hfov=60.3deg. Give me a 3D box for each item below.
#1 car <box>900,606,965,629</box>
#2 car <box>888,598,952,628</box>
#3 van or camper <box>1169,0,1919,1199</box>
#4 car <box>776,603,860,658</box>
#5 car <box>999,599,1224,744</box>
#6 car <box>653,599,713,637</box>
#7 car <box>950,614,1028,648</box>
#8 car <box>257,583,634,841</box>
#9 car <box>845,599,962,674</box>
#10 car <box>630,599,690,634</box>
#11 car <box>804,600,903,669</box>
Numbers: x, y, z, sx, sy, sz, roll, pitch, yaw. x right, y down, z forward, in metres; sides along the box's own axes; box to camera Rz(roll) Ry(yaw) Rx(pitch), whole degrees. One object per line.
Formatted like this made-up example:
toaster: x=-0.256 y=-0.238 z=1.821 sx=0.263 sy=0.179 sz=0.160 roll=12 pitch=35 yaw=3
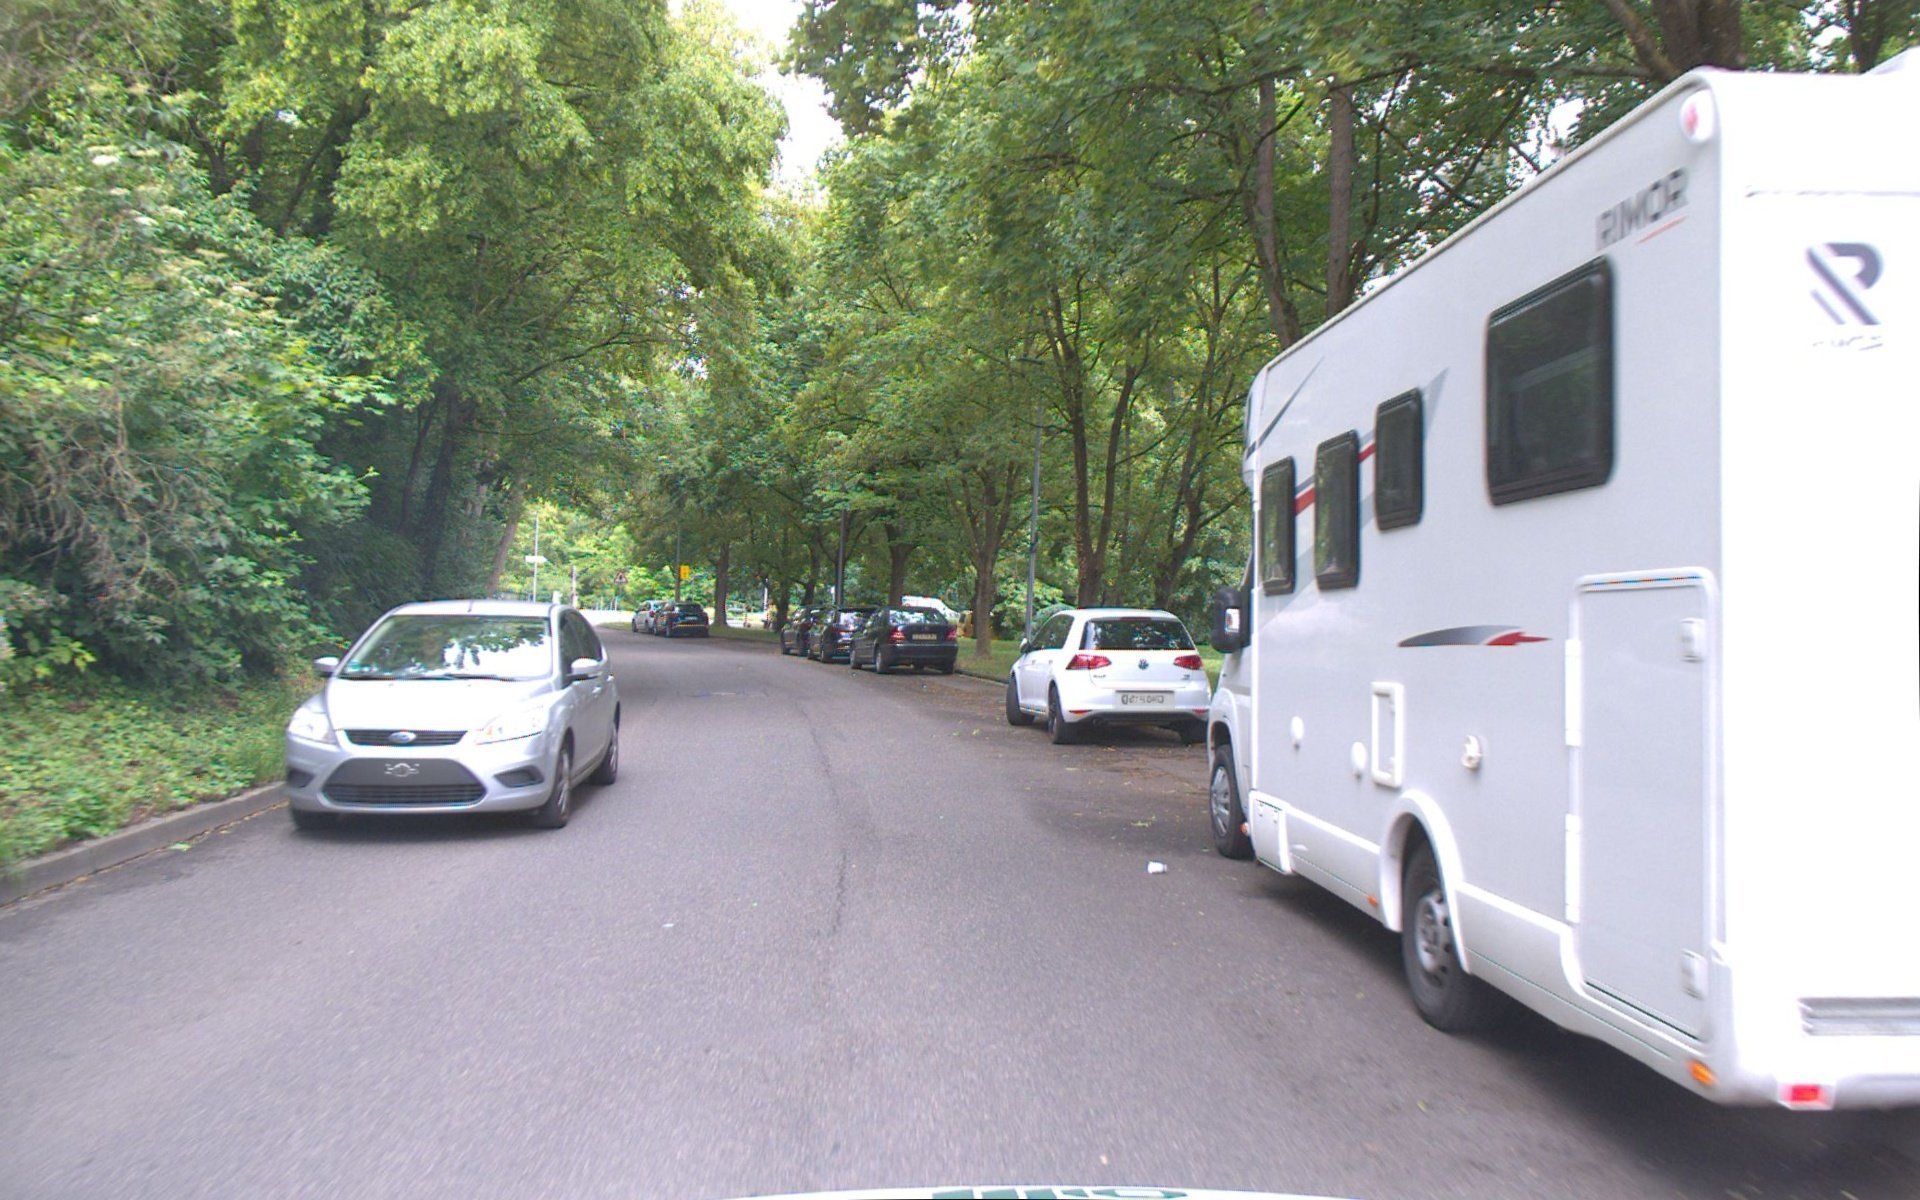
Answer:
car: x=-1.891 y=1.194 z=114.296 sx=4.141 sy=1.525 sz=1.790 roll=1 pitch=0 yaw=-19
car: x=-2.824 y=0.901 z=117.141 sx=4.141 sy=2.049 sz=1.990 roll=1 pitch=0 yaw=-19
van or camper: x=2.764 y=-0.041 z=7.350 sx=2.376 sy=3.032 sz=7.389 roll=1 pitch=0 yaw=-3
car: x=-4.162 y=0.848 z=47.952 sx=1.655 sy=1.490 sz=3.880 roll=1 pitch=0 yaw=-17
car: x=1.657 y=0.762 z=19.484 sx=1.657 sy=1.508 sz=4.098 roll=1 pitch=0 yaw=-9
car: x=-12.062 y=0.746 z=71.806 sx=1.748 sy=1.549 sz=4.157 roll=1 pitch=0 yaw=-21
car: x=1.743 y=1.854 z=99.176 sx=4.323 sy=1.881 sz=1.825 roll=2 pitch=0 yaw=-15
car: x=-3.493 y=0.685 z=11.990 sx=1.759 sy=1.534 sz=3.996 roll=1 pitch=0 yaw=-5
car: x=-1.296 y=0.760 z=36.293 sx=1.563 sy=1.491 sz=4.298 roll=1 pitch=0 yaw=-16
car: x=-13.827 y=0.736 z=76.039 sx=1.752 sy=1.549 sz=3.749 roll=1 pitch=0 yaw=-26
car: x=-2.793 y=0.849 z=42.420 sx=1.879 sy=1.640 sz=4.721 roll=1 pitch=0 yaw=-11
